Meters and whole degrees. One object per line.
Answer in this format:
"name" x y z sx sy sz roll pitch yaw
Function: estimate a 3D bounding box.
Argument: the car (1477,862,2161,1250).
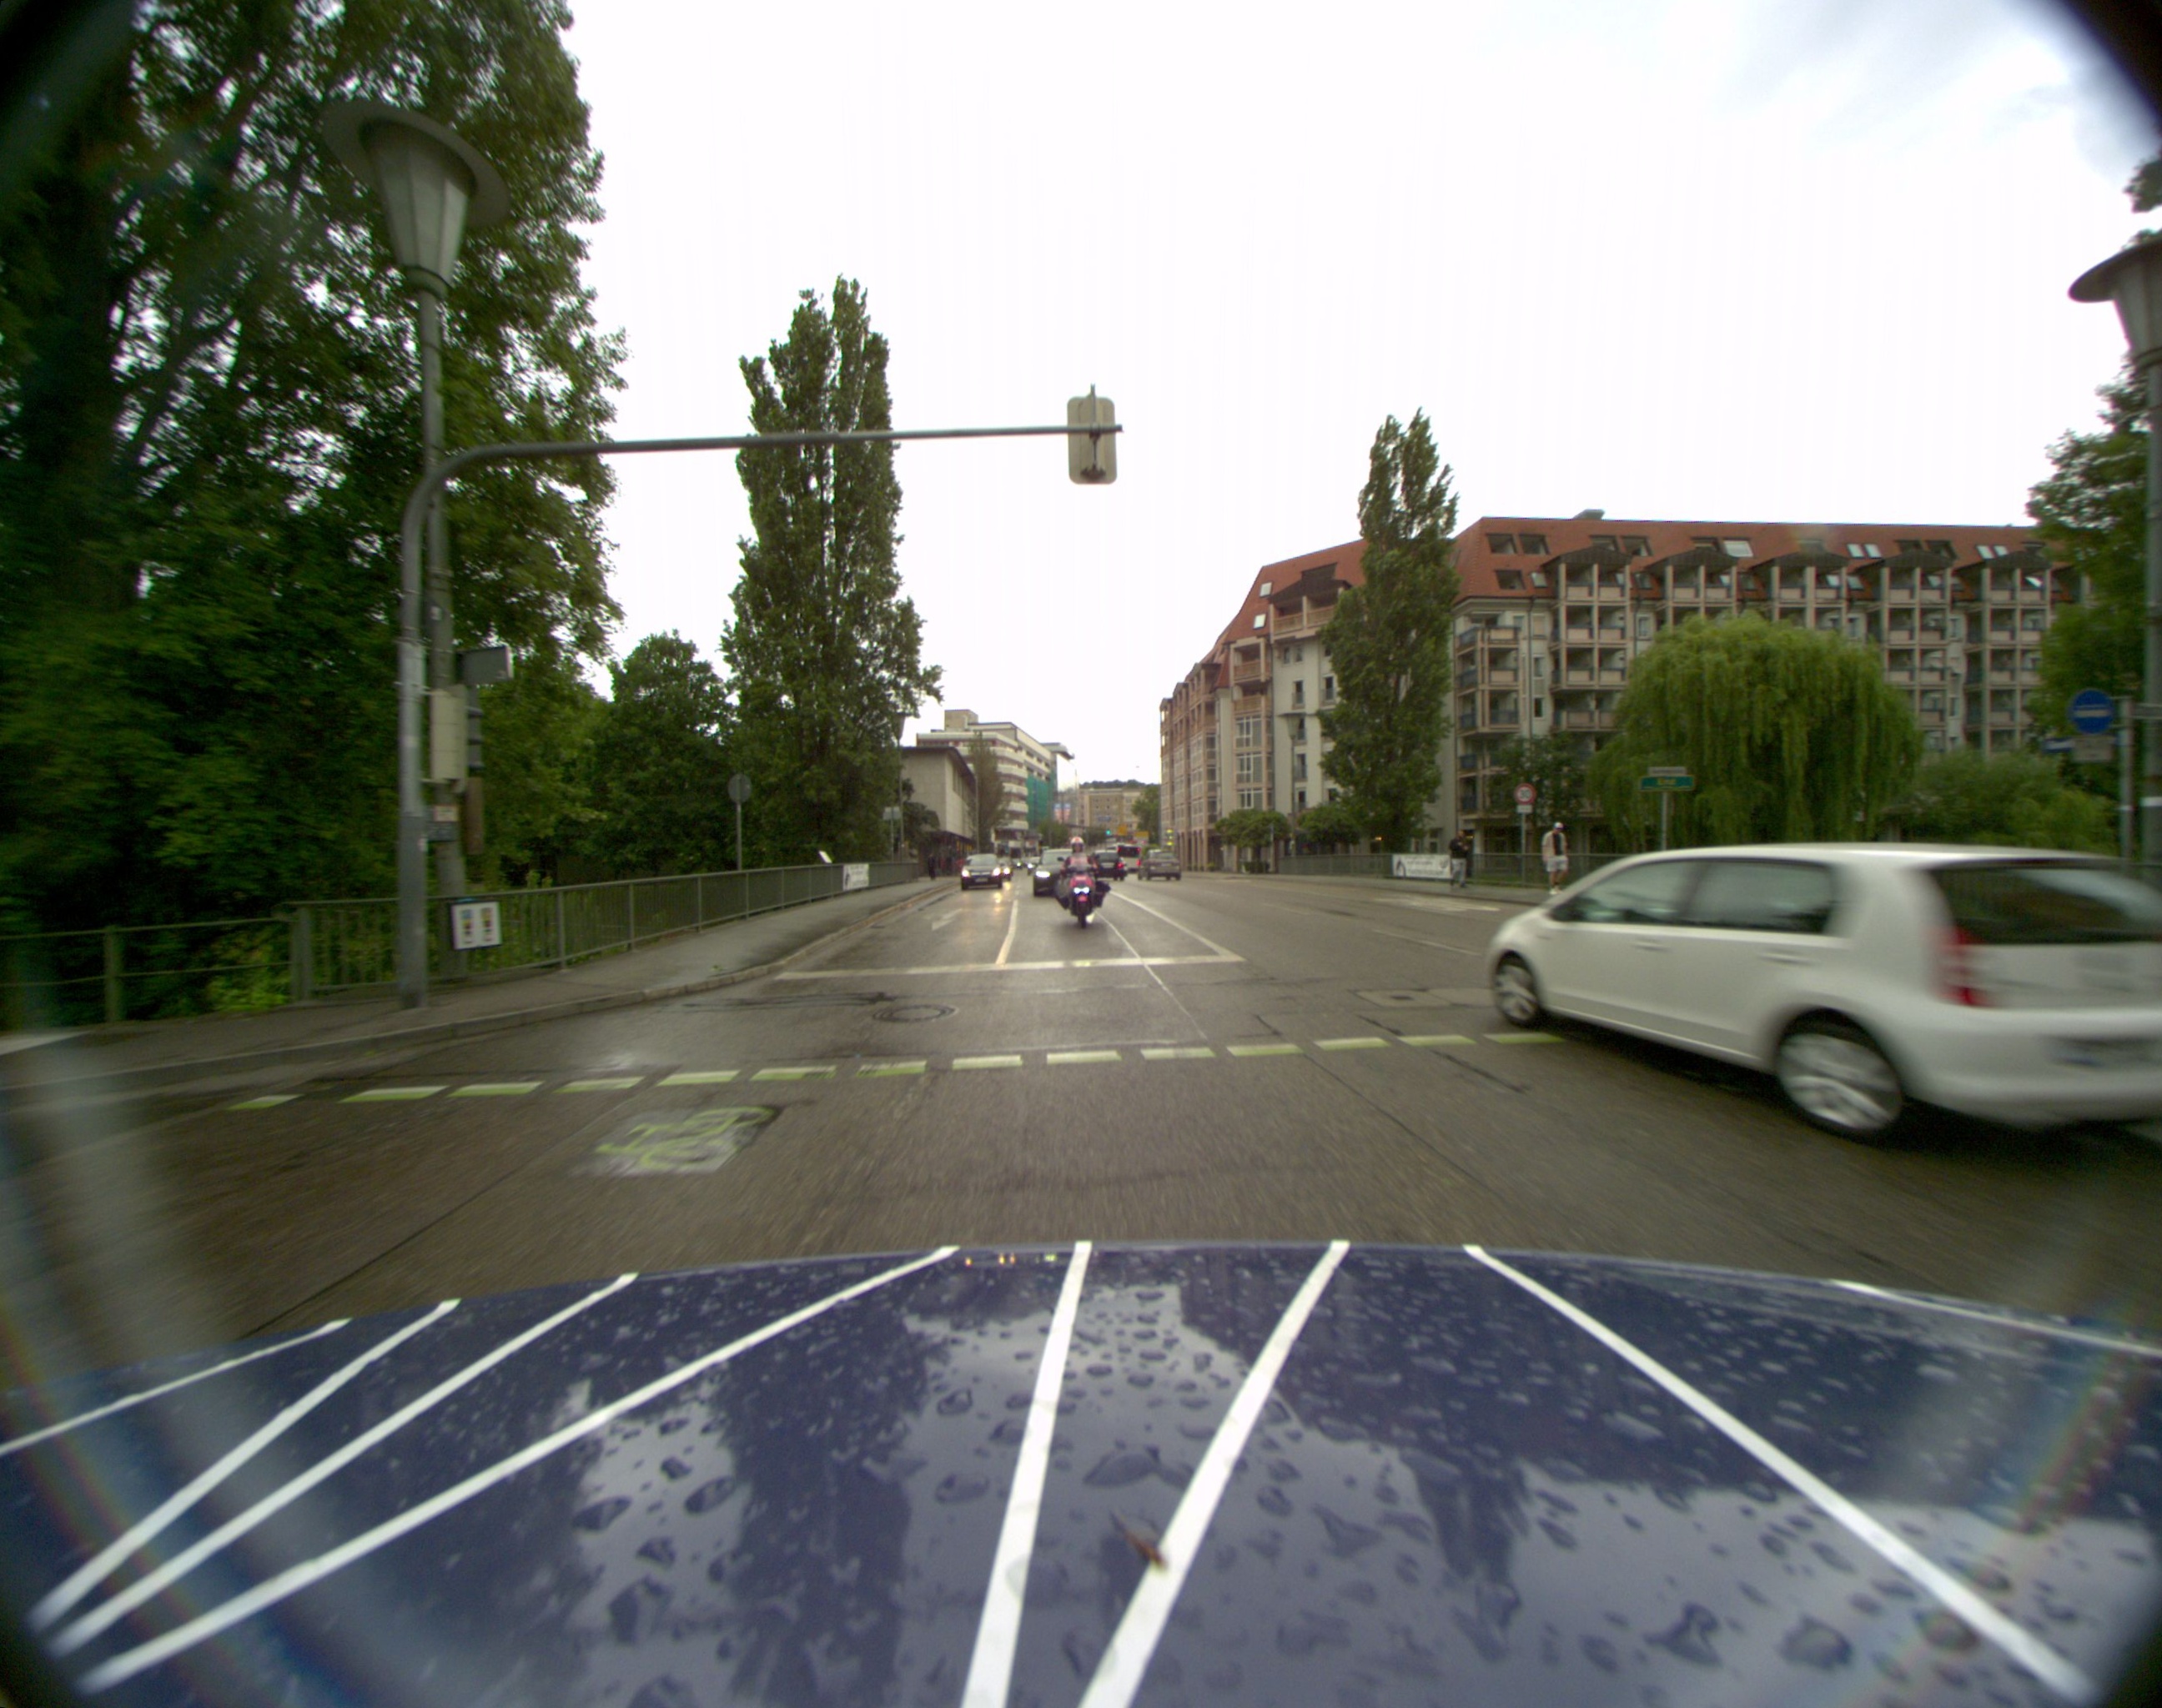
"car" 4.319 0.812 4.792 1.659 1.441 3.542 -1 1 -3

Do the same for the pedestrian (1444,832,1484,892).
"pedestrian" 11.738 0.239 23.307 0.700 1.783 0.958 -2 1 -3

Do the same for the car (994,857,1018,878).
"car" -6.573 1.192 66.917 1.735 1.669 4.248 -3 1 -1

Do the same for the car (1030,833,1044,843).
"car" -8.503 -3.092 147.710 1.830 1.727 4.000 0 4 9

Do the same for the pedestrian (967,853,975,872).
"pedestrian" -10.449 0.810 72.173 0.700 1.791 0.606 0 1 -4

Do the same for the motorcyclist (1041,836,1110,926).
"motorcyclist" -0.124 0.537 15.483 1.297 1.757 0.845 -1 1 -6

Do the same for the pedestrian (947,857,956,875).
"pedestrian" -11.123 1.022 65.228 0.728 1.580 0.606 0 1 -4

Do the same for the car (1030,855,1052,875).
"car" -3.614 0.968 68.117 1.713 1.689 3.741 -2 -1 -5

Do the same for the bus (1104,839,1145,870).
"bus" 4.629 0.172 83.110 2.752 3.057 12.233 2 -1 -4

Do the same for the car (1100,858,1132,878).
"car" 2.760 1.091 60.445 1.841 1.501 4.817 0 0 -6

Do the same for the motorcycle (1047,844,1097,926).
"motorcycle" -0.223 0.562 15.282 0.832 1.479 2.864 -1 1 -3

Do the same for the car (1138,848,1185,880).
"car" 4.159 0.506 39.807 1.741 1.592 3.917 0 0 -4

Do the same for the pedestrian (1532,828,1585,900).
"pedestrian" 12.187 0.243 19.398 0.799 1.783 0.812 -2 1 -2

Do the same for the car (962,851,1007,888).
"car" -4.052 0.651 32.274 1.713 1.448 3.741 -2 -1 -5

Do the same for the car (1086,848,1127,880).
"car" 1.316 0.496 40.454 1.741 1.592 3.917 0 0 -4

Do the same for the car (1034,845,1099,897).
"car" -0.549 0.527 25.318 1.938 1.511 4.467 -2 0 -3

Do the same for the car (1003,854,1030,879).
"car" -3.981 0.761 47.169 1.596 1.432 3.626 -2 0 -4

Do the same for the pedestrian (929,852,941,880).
"pedestrian" -8.500 0.709 44.248 0.641 1.654 0.563 0 -1 -5

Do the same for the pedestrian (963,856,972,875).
"pedestrian" -9.755 0.994 65.274 0.719 1.610 0.769 0 0 -4
